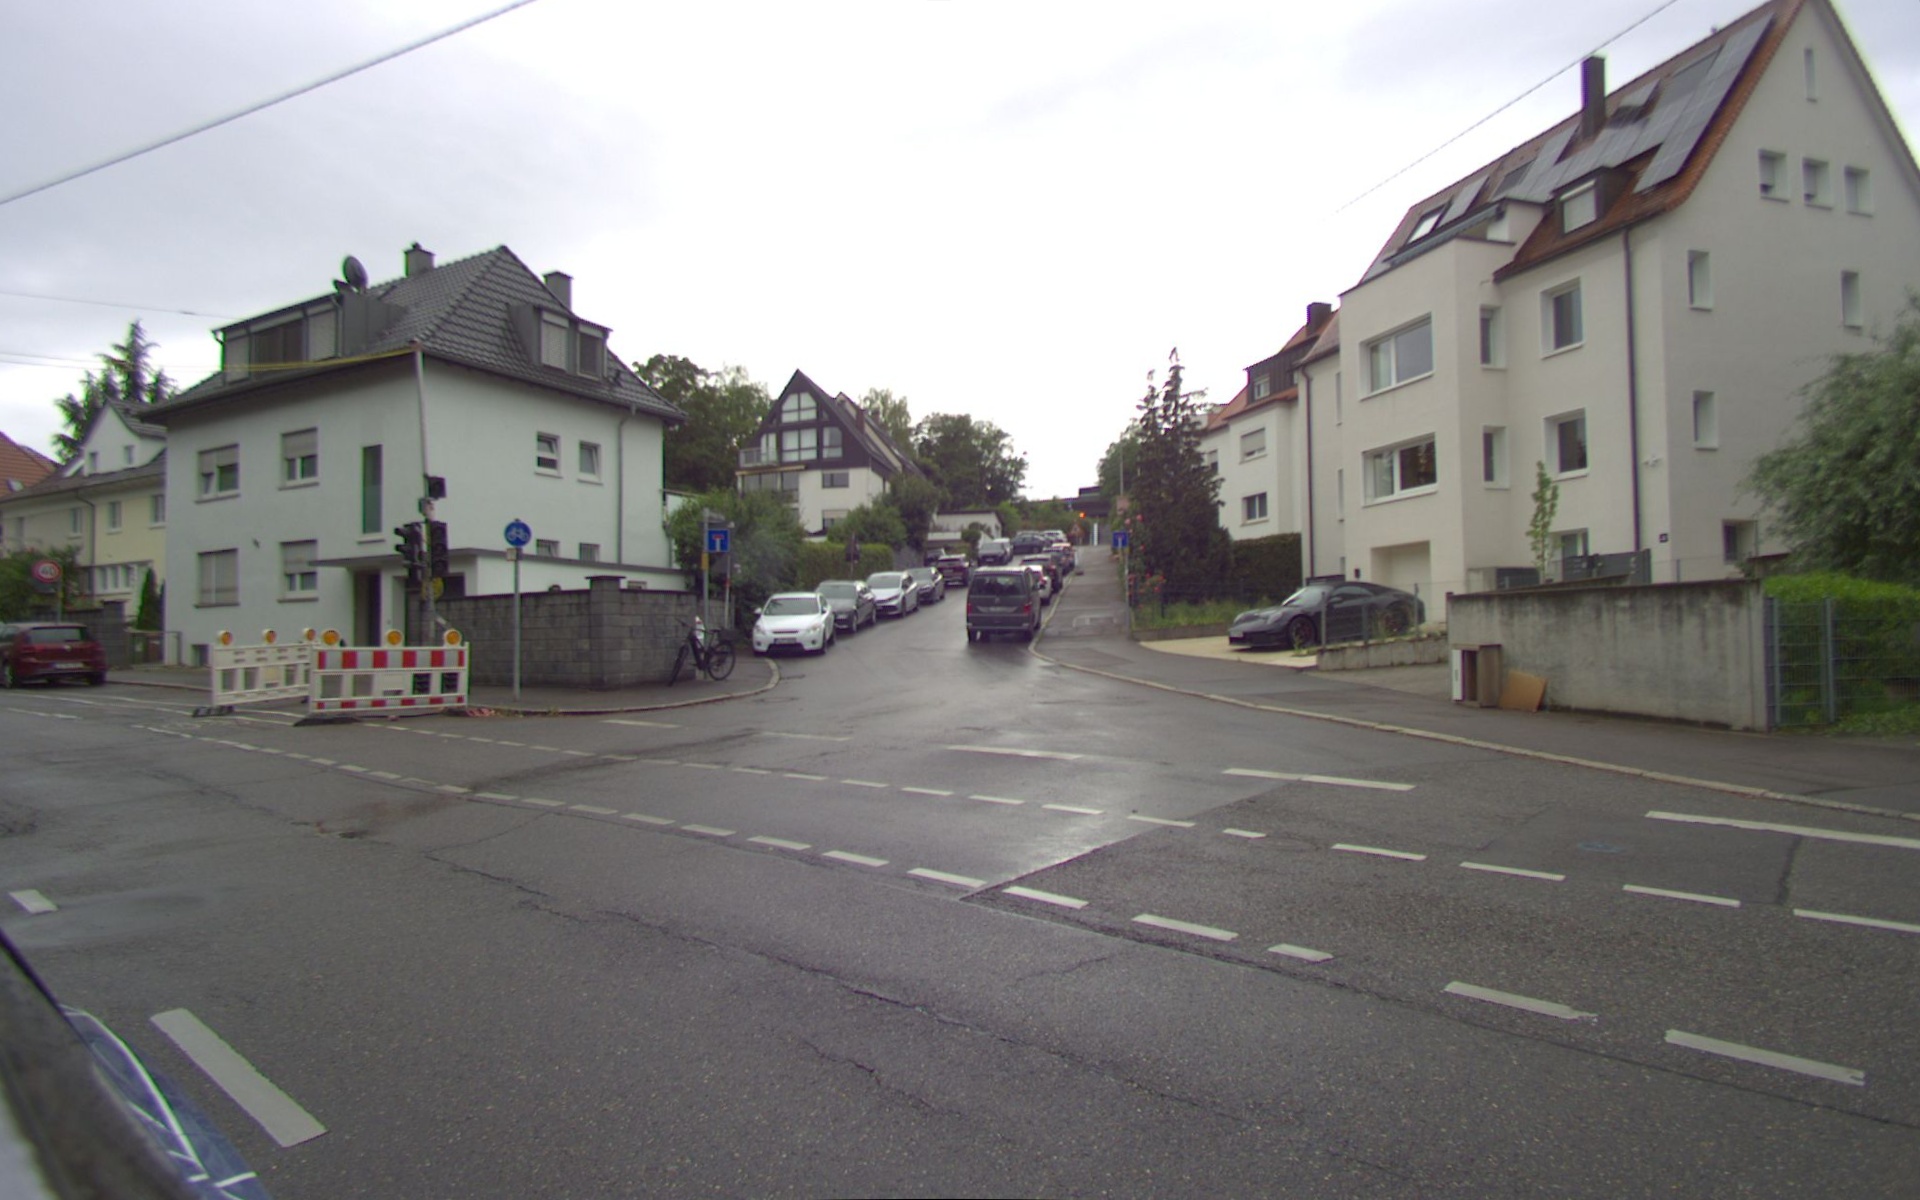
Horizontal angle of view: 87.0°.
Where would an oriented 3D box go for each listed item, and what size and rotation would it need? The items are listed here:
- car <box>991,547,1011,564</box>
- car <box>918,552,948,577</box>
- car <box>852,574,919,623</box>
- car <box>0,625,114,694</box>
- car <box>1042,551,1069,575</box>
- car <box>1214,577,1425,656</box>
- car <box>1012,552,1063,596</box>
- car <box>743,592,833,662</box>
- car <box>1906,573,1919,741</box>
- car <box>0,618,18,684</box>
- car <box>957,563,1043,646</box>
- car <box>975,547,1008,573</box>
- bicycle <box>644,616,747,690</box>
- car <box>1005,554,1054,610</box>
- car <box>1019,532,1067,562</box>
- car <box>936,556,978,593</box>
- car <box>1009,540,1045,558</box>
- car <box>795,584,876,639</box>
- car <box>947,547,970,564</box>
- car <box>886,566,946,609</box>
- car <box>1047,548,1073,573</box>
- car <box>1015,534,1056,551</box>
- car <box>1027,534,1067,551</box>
[{"bbox_3d":[3.053,-3.328,74.718,1.292,1.206,2.980,-1,3,5],"label":"car"},{"bbox_3d":[-1.832,-2.420,69.801,1.793,1.566,4.009,-1,0,3],"label":"car"},{"bbox_3d":[-2.662,-0.085,37.094,1.738,1.481,3.940,-1,4,6],"label":"car"},{"bbox_3d":[-21.472,1.336,23.390,3.833,1.443,1.768,-1,-1,30],"label":"car"},{"bbox_3d":[5.498,-2.145,58.119,1.274,1.325,2.984,-1,3,10],"label":"car"},{"bbox_3d":[7.703,0.333,21.780,3.942,1.290,1.613,-5,1,-13],"label":"car"},{"bbox_3d":[3.517,-1.194,45.384,1.823,1.699,4.039,-1,5,11],"label":"car"},{"bbox_3d":[-4.358,0.625,26.163,1.827,1.473,4.124,-1,3,-3],"label":"car"},{"bbox_3d":[10.601,0.423,8.556,3.934,1.497,1.780,-2,-1,-12],"label":"car"},{"bbox_3d":[-26.157,1.320,25.781,4.131,1.653,1.782,-1,-1,25],"label":"car"},{"bbox_3d":[1.238,0.050,29.333,1.978,2.028,4.482,-1,4,9],"label":"car"},{"bbox_3d":[2.191,-2.672,68.893,1.770,1.531,4.016,-1,0,9],"label":"car"},{"bbox_3d":[-4.790,0.932,18.465,0.508,1.249,1.984,1,0,32],"label":"bicycle"},{"bbox_3d":[2.815,-0.755,40.331,1.686,1.843,4.194,-1,6,7],"label":"car"},{"bbox_3d":[7.197,-4.565,87.650,3.954,2.028,1.995,-5,-1,8],"label":"car"},{"bbox_3d":[-0.119,-1.364,52.472,1.623,1.637,3.992,-1,5,8],"label":"car"},{"bbox_3d":[5.548,-4.201,83.661,2.914,1.328,1.282,-1,0,4],"label":"car"},{"bbox_3d":[-3.831,0.319,31.826,1.702,1.397,3.900,-1,4,6],"label":"car"},{"bbox_3d":[-0.087,-3.261,74.029,1.559,1.220,3.650,-1,3,2],"label":"car"},{"bbox_3d":[-1.811,-0.554,42.967,1.903,1.448,4.100,-1,5,7],"label":"car"},{"bbox_3d":[6.233,-2.449,62.855,1.488,1.373,3.465,-1,0,8],"label":"car"},{"bbox_3d":[7.386,-5.593,98.796,3.922,1.528,1.748,-1,0,6],"label":"car"},{"bbox_3d":[8.934,-5.904,103.922,3.782,1.529,1.664,-1,-1,15],"label":"car"}]
